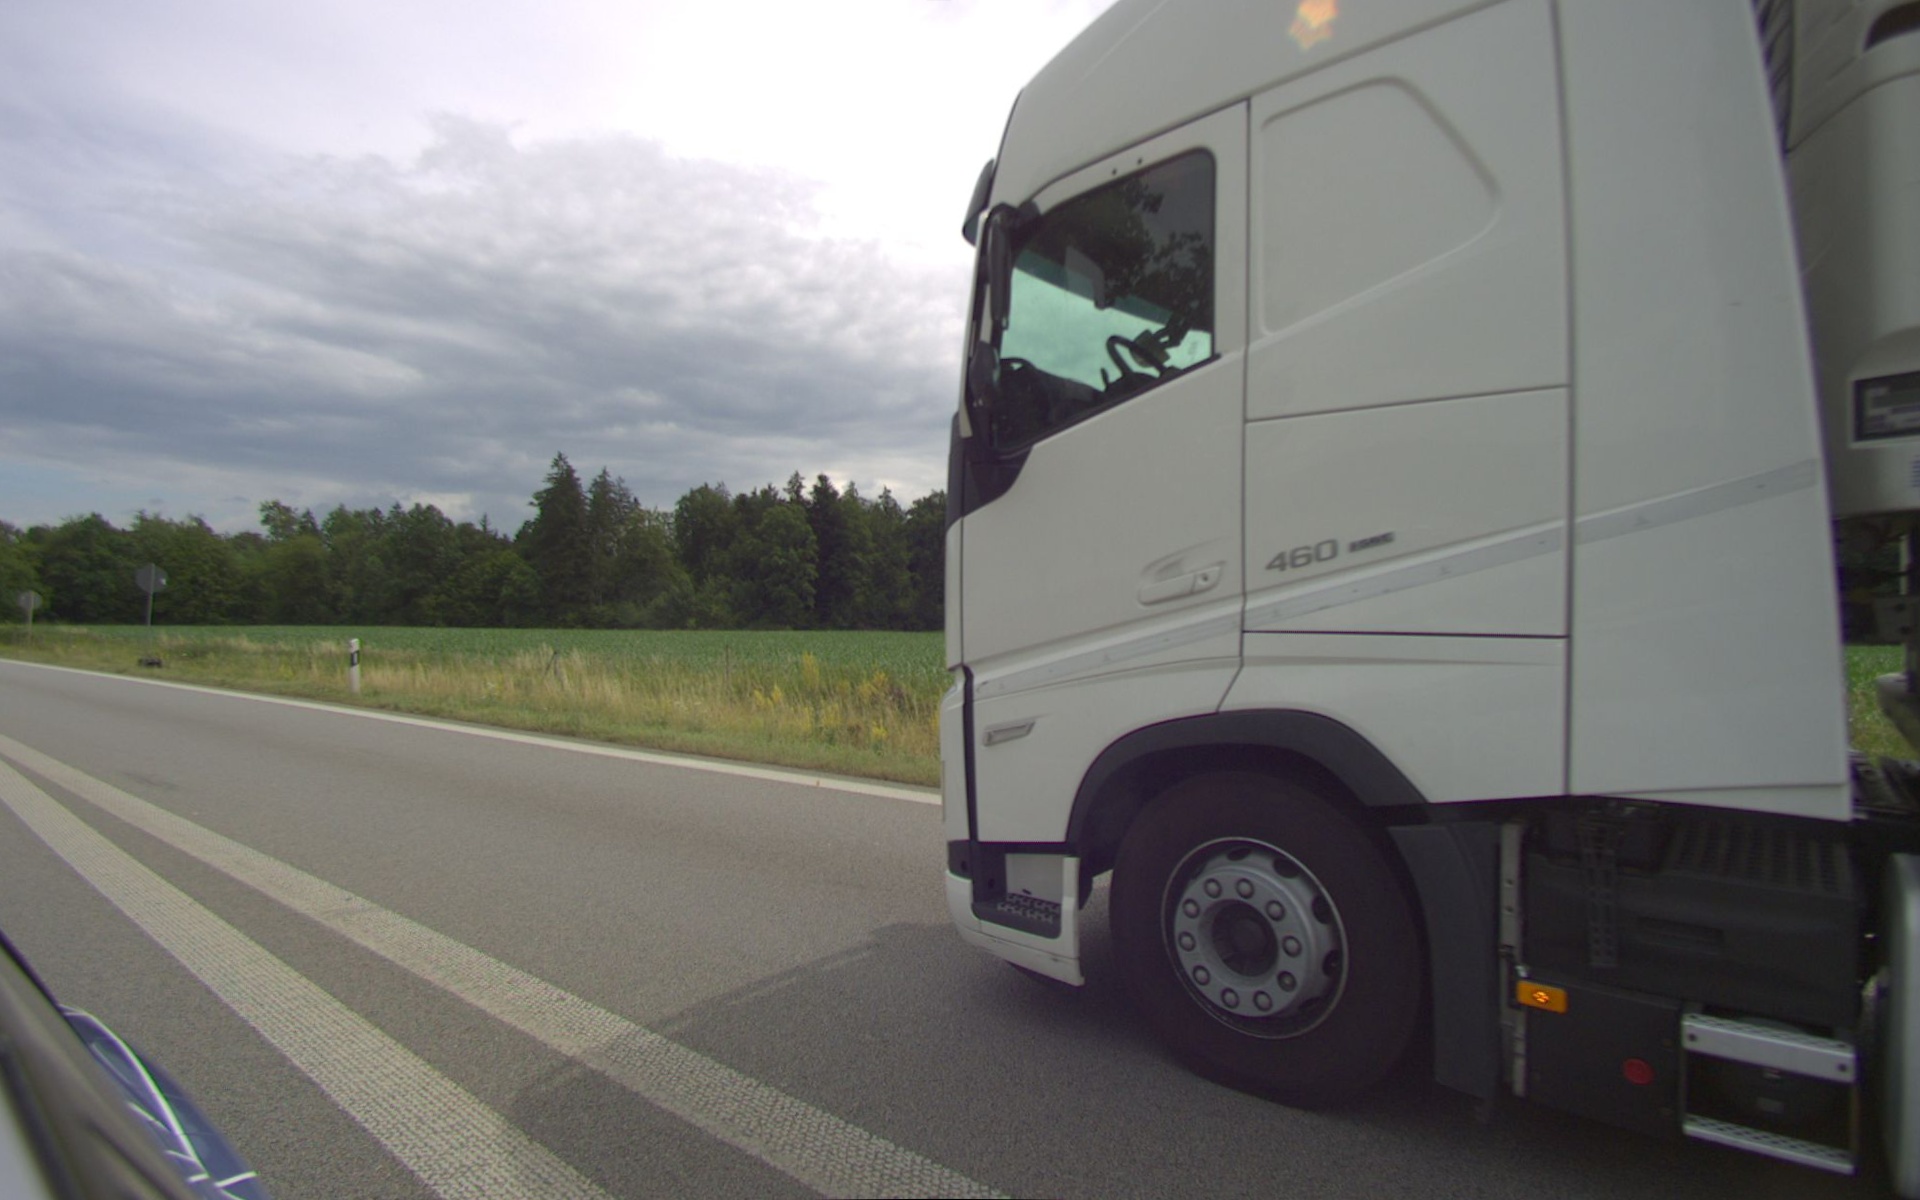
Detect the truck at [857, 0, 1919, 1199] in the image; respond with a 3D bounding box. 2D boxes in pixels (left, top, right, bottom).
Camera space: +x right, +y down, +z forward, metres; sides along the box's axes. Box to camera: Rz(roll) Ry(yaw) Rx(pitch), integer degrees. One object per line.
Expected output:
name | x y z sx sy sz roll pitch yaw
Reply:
truck | 2.400 -0.658 2.927 5.201 4.026 2.464 -2 -1 41
